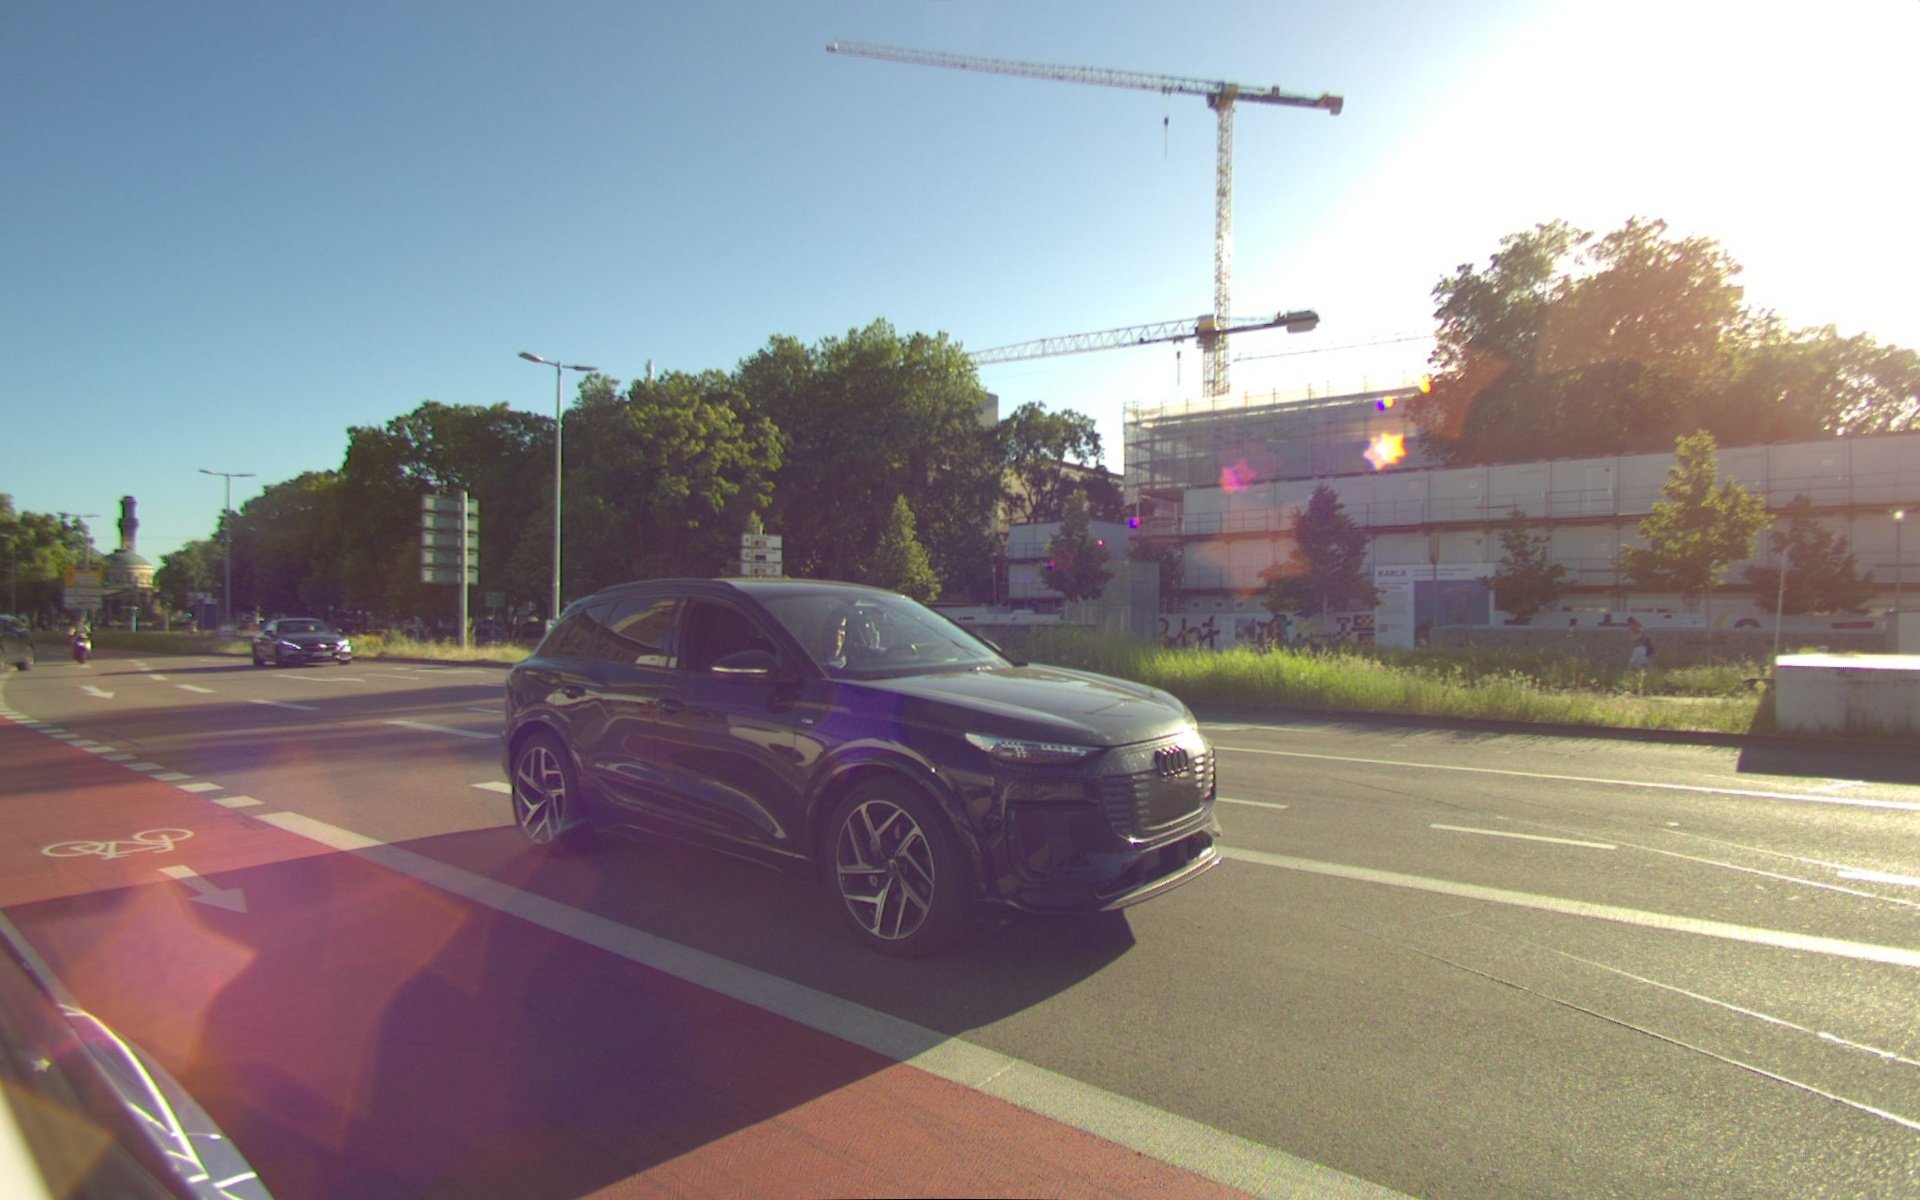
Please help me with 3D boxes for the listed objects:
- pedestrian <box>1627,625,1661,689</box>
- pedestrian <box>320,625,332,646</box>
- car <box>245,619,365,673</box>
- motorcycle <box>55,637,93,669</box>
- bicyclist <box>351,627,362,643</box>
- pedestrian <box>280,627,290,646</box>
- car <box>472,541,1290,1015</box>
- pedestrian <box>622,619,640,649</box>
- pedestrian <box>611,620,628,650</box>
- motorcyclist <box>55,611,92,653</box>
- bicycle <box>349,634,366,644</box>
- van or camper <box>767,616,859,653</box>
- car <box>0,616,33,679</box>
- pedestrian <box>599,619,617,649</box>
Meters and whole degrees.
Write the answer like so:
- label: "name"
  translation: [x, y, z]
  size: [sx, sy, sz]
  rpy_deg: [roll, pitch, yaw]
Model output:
- label: "pedestrian"
  translation: [18.305, 1.514, 27.076]
  size: [0.626, 1.665, 0.930]
  rpy_deg: [-1, -2, 41]
- label: "pedestrian"
  translation: [-55.747, 3.112, 89.039]
  size: [0.924, 1.862, 0.620]
  rpy_deg: [-1, -2, 40]
- label: "car"
  translation: [-19.427, 1.312, 29.945]
  size: [4.489, 1.417, 1.972]
  rpy_deg: [-1, 0, 43]
- label: "motorcycle"
  translation: [-30.987, 1.847, 35.423]
  size: [0.960, 1.022, 2.270]
  rpy_deg: [-1, -1, -41]
- label: "bicyclist"
  translation: [-50.066, 2.898, 83.977]
  size: [0.714, 1.291, 0.603]
  rpy_deg: [-1, -2, 40]
- label: "pedestrian"
  translation: [-64.886, 3.500, 97.294]
  size: [0.733, 1.862, 0.561]
  rpy_deg: [-1, -2, 40]
- label: "car"
  translation: [-0.742, 0.668, 5.761]
  size: [4.612, 1.656, 1.913]
  rpy_deg: [-1, -1, 39]
- label: "pedestrian"
  translation: [-19.361, 2.012, 59.518]
  size: [0.762, 1.738, 0.698]
  rpy_deg: [-1, -2, 40]
- label: "pedestrian"
  translation: [-19.832, 2.017, 58.911]
  size: [0.762, 1.738, 0.656]
  rpy_deg: [-1, -2, 41]
- label: "motorcyclist"
  translation: [-31.075, 1.122, 35.476]
  size: [0.960, 1.424, 1.060]
  rpy_deg: [-1, -1, -41]
- label: "bicycle"
  translation: [-49.963, 3.237, 83.920]
  size: [1.744, 0.849, 0.602]
  rpy_deg: [-1, -2, 40]
- label: "van or camper"
  translation: [-8.937, 2.066, 61.948]
  size: [1.948, 2.029, 5.576]
  rpy_deg: [-1, 0, 42]
- label: "car"
  translation: [-27.705, 1.317, 28.145]
  size: [1.966, 1.732, 4.338]
  rpy_deg: [1, -2, -31]
- label: "pedestrian"
  translation: [-20.215, 1.949, 58.177]
  size: [0.762, 1.738, 0.698]
  rpy_deg: [-2, -2, 41]
